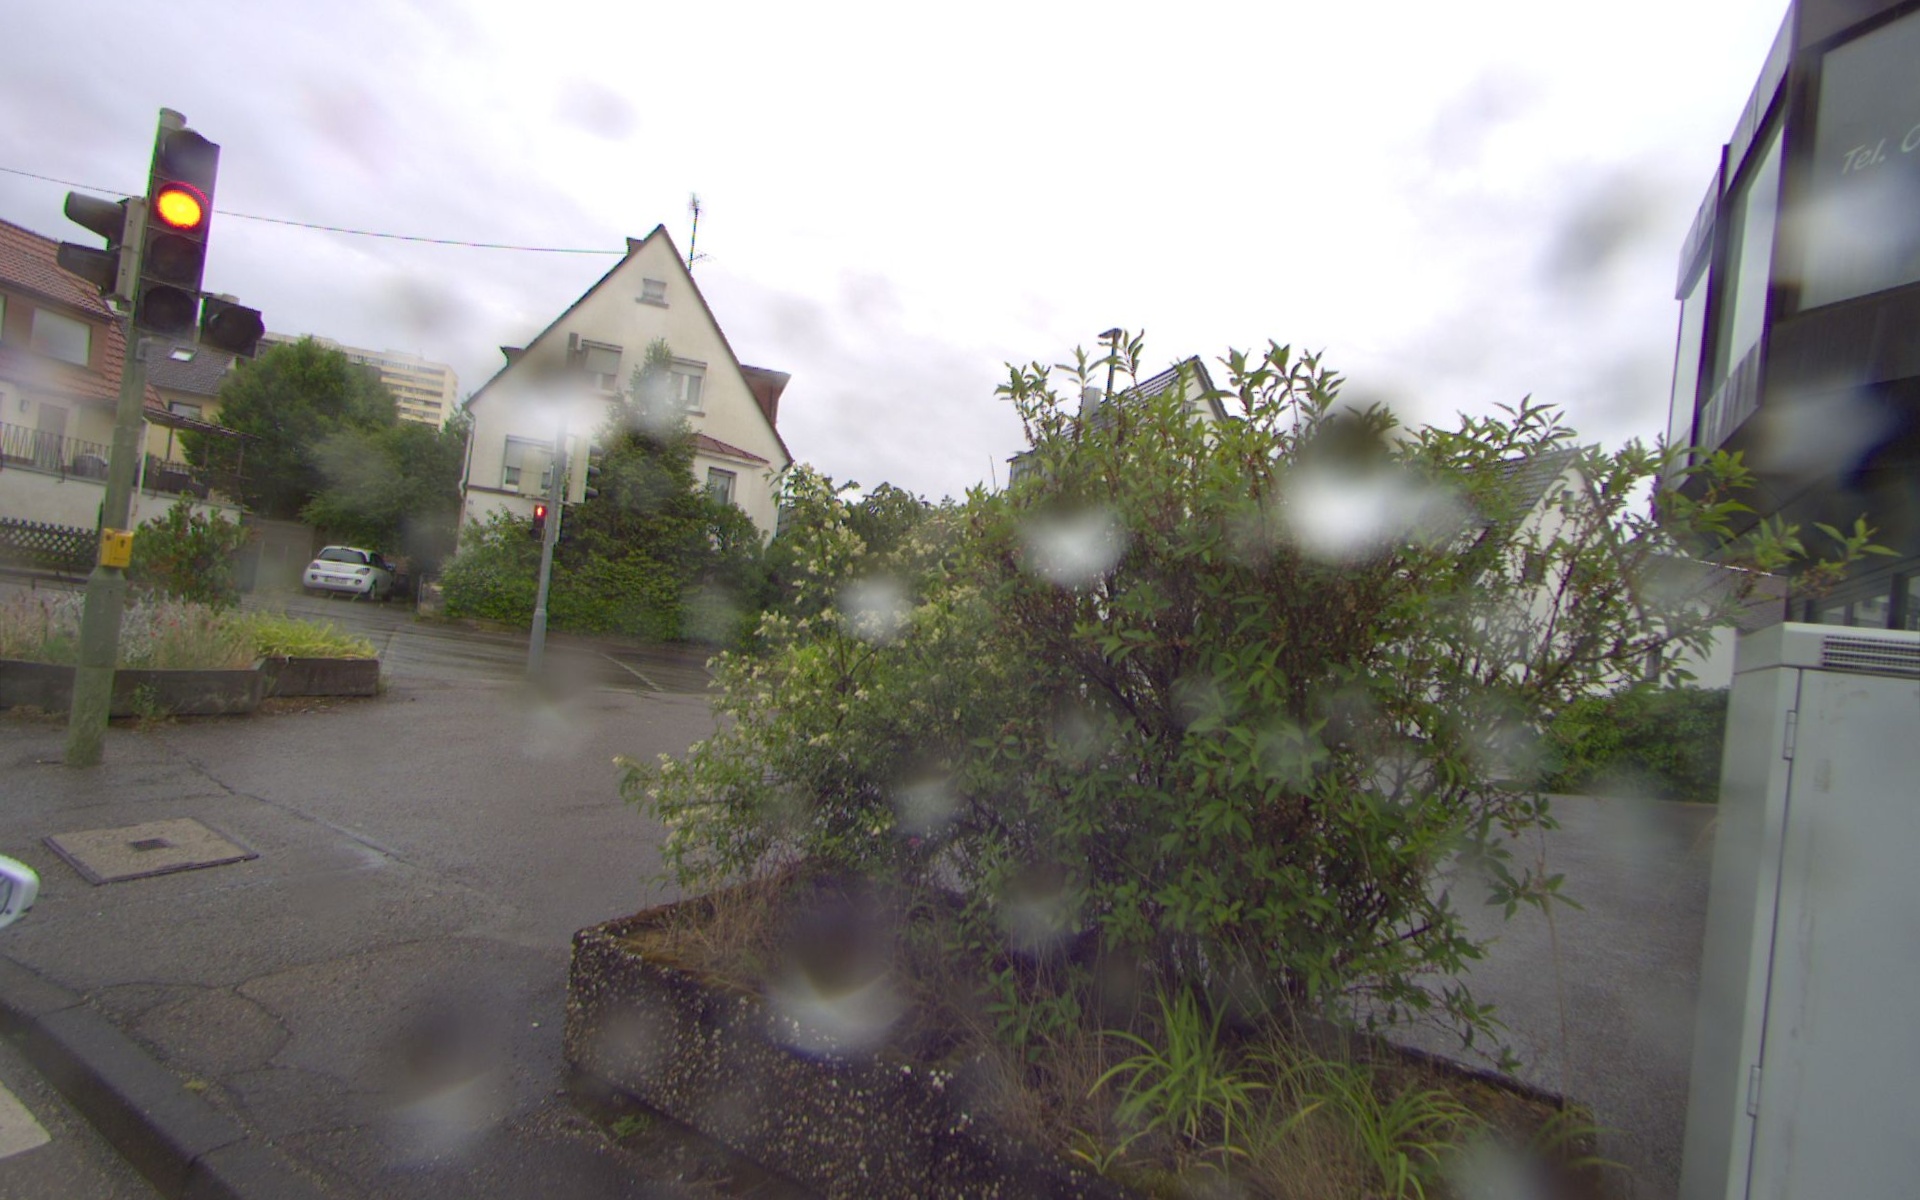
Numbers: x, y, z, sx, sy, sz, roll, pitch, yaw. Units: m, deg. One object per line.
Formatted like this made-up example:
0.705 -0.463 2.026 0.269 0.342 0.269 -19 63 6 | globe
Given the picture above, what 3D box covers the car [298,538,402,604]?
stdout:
-17.686 -0.816 29.371 1.722 1.532 3.982 9 -2 -21 | car
